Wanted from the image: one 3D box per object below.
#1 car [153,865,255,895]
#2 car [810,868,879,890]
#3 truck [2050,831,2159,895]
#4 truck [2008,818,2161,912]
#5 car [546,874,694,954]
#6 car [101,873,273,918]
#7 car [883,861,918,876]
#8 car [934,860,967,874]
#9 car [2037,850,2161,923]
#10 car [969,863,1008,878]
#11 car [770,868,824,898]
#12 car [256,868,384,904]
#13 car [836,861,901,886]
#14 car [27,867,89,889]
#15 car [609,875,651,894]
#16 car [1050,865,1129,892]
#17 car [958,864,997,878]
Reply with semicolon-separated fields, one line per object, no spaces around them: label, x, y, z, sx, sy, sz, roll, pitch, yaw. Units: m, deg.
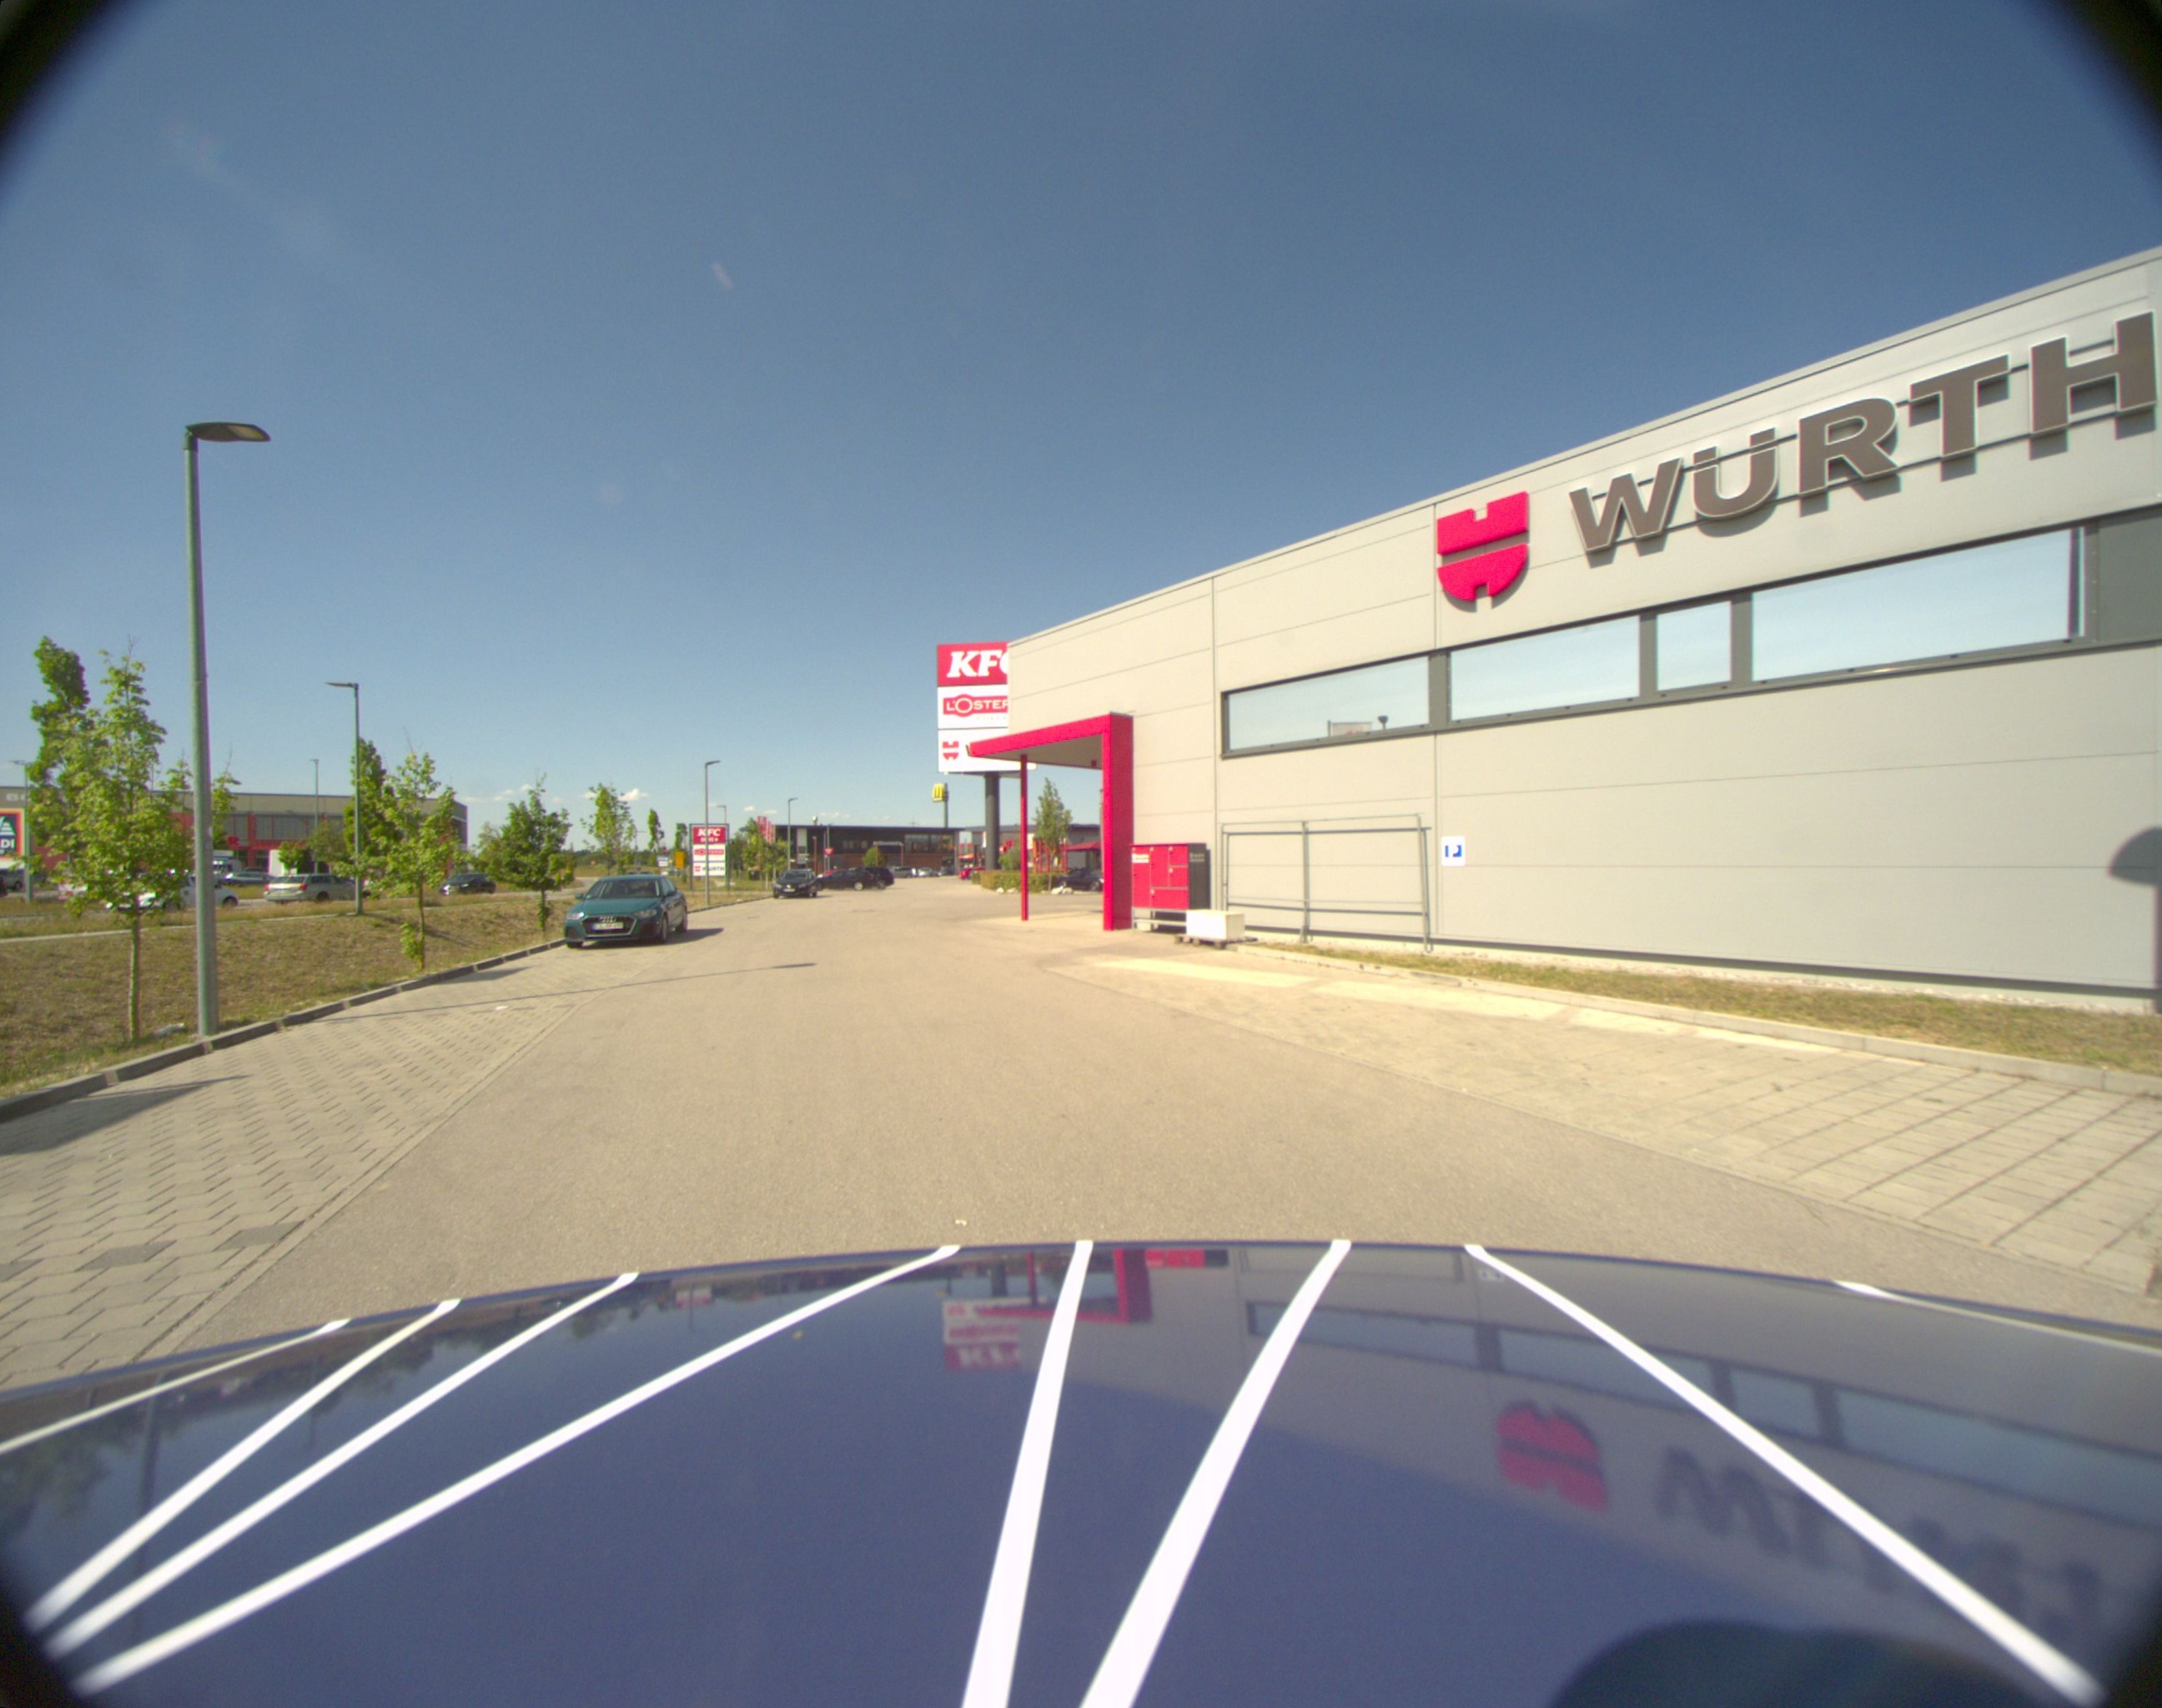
car;-64.289;1.847;55.802;4.488;2.026;1.997;-1;0;-20
car;-16.744;1.721;53.910;4.537;1.450;1.997;0;-1;-16
truck;41.602;0.345;31.027;5.903;2.362;1.994;0;-1;-43
truck;28.586;0.289;21.789;5.903;2.362;2.118;0;-1;-43
car;-9.819;1.191;16.564;1.847;1.441;4.220;0;-1;-18
car;-35.305;1.574;30.251;1.947;1.542;4.755;-1;0;-13
car;-25.912;2.099;109.155;4.492;2.002;1.995;-1;0;-33
car;-19.853;1.994;115.903;4.492;2.002;1.995;-1;0;-33
car;23.634;0.682;17.298;1.874;1.499;4.009;-1;-1;45
car;-10.605;1.889;87.107;4.104;1.556;1.874;0;-1;-32
car;-14.984;1.479;40.258;1.879;1.456;4.360;-1;-1;-10
car;-36.649;1.501;36.786;1.947;1.542;4.757;-1;0;-10
car;-16.234;1.506;58.288;4.533;1.824;1.999;-1;0;-6
car;-98.774;2.284;73.435;2.003;2.026;4.474;-1;0;-31
car;-40.480;2.727;68.319;1.948;1.542;4.755;-1;0;-15
car;0.402;1.278;40.414;1.835;1.330;4.143;0;-1;-44
car;-12.185;1.975;89.326;4.104;1.556;1.874;0;-1;-32
